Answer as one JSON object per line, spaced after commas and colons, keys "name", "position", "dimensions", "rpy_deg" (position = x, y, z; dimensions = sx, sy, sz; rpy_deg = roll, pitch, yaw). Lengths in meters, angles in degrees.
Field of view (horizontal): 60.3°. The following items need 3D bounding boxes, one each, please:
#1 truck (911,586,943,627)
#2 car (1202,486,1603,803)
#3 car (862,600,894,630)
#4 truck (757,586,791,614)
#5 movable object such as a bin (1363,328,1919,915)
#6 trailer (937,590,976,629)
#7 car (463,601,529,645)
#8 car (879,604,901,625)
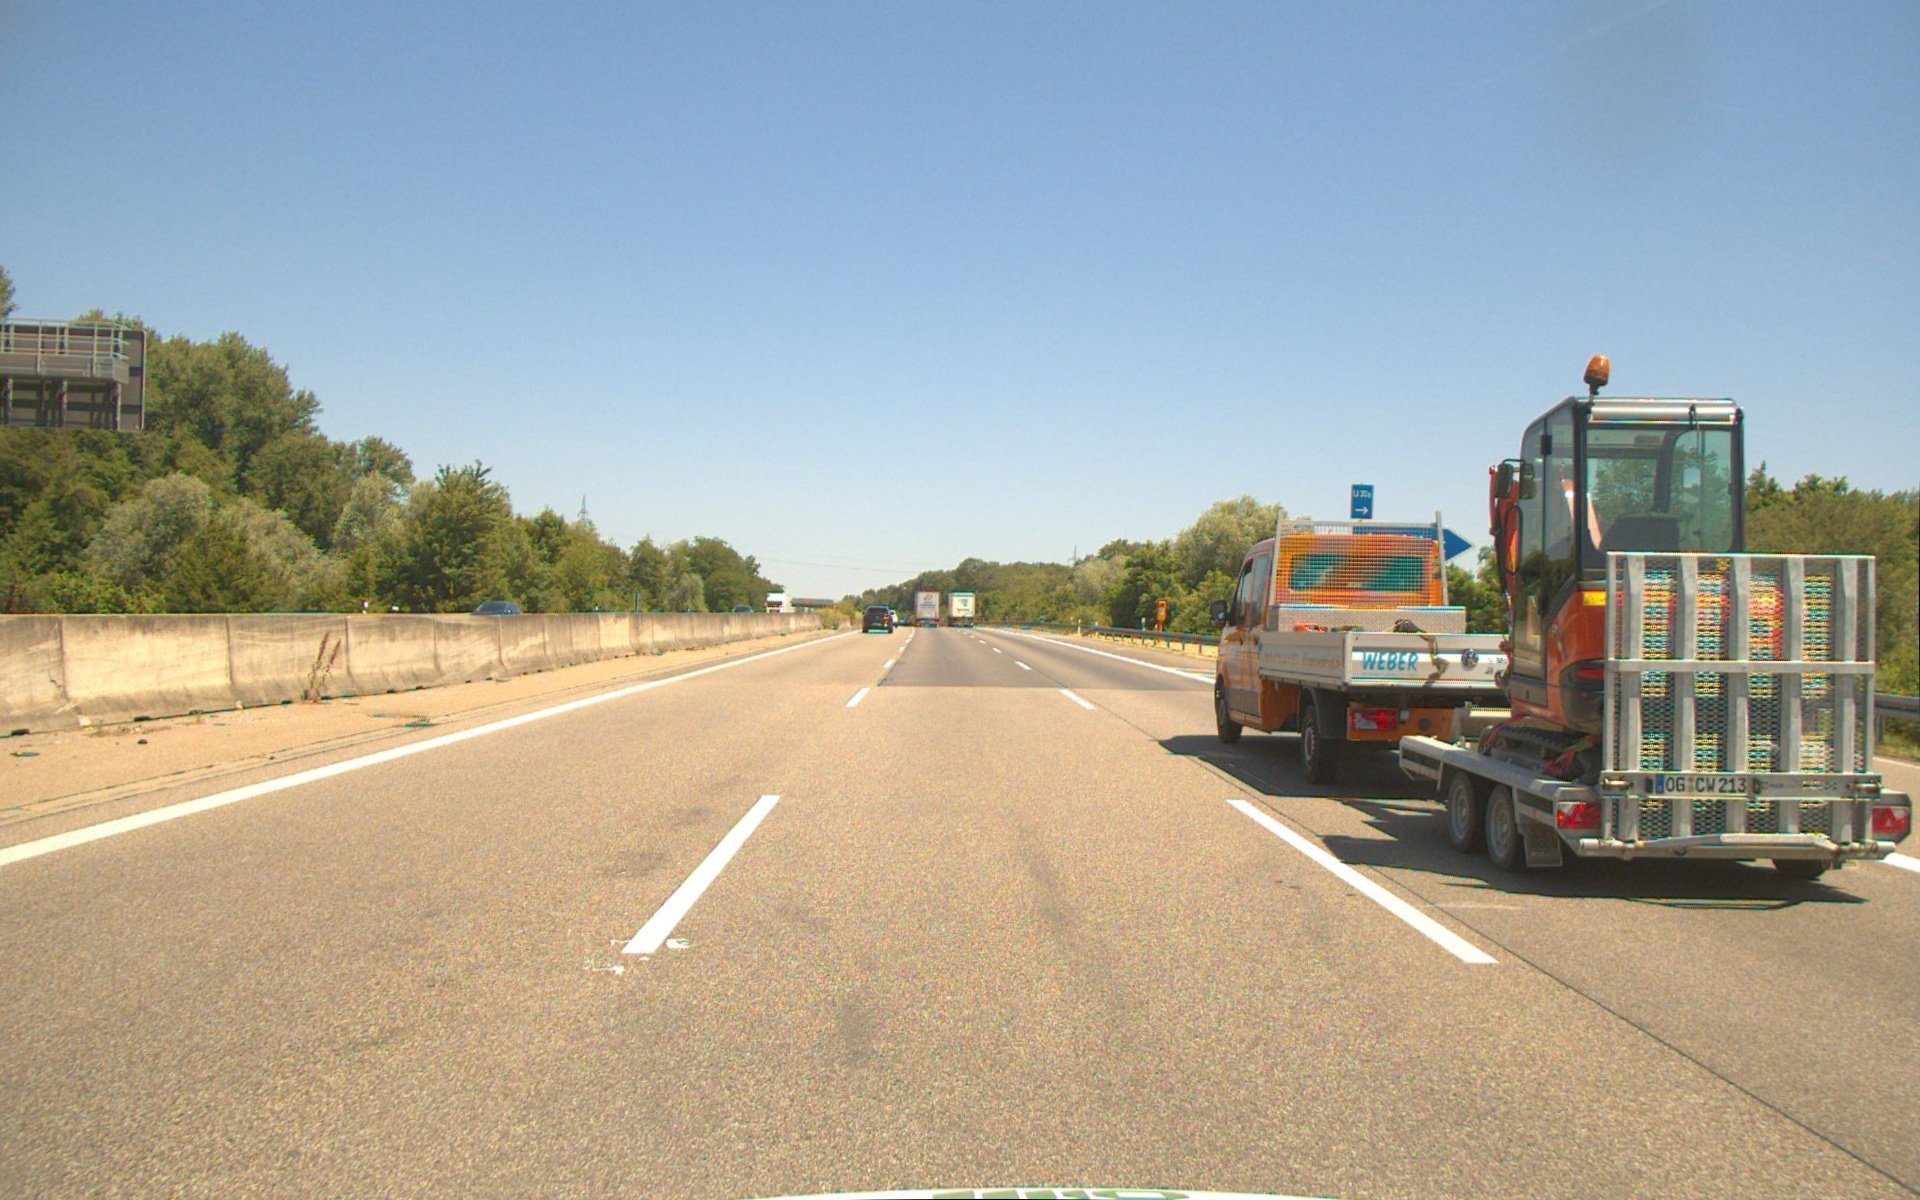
{"name": "truck", "position": [-3.680, 0.707, 184.031], "dimensions": [3.165, 4.275, 8.462], "rpy_deg": [3, 0, -2]}
{"name": "car", "position": [4.014, 0.364, 16.620], "dimensions": [1.953, 2.447, 7.224], "rpy_deg": [1, 0, -1]}
{"name": "car", "position": [-5.383, 0.990, 108.845], "dimensions": [1.953, 1.907, 3.999], "rpy_deg": [1, 0, -1]}
{"name": "truck", "position": [-27.212, 0.037, 242.553], "dimensions": [3.526, 3.800, 17.476], "rpy_deg": [1, 0, -2]}
{"name": "movable object such as a bin", "position": [4.281, 0.126, 10.567], "dimensions": [2.130, 2.865, 4.760], "rpy_deg": [1, 0, -1]}
{"name": "trailer", "position": [-0.470, 1.076, 192.085], "dimensions": [3.303, 4.214, 9.079], "rpy_deg": [4, 0, -6]}
{"name": "car", "position": [-22.897, 1.119, 81.821], "dimensions": [1.952, 2.049, 4.429], "rpy_deg": [1, 0, 0]}
{"name": "car", "position": [-6.705, 1.342, 158.016], "dimensions": [1.953, 1.907, 3.998], "rpy_deg": [2, 0, -2]}
